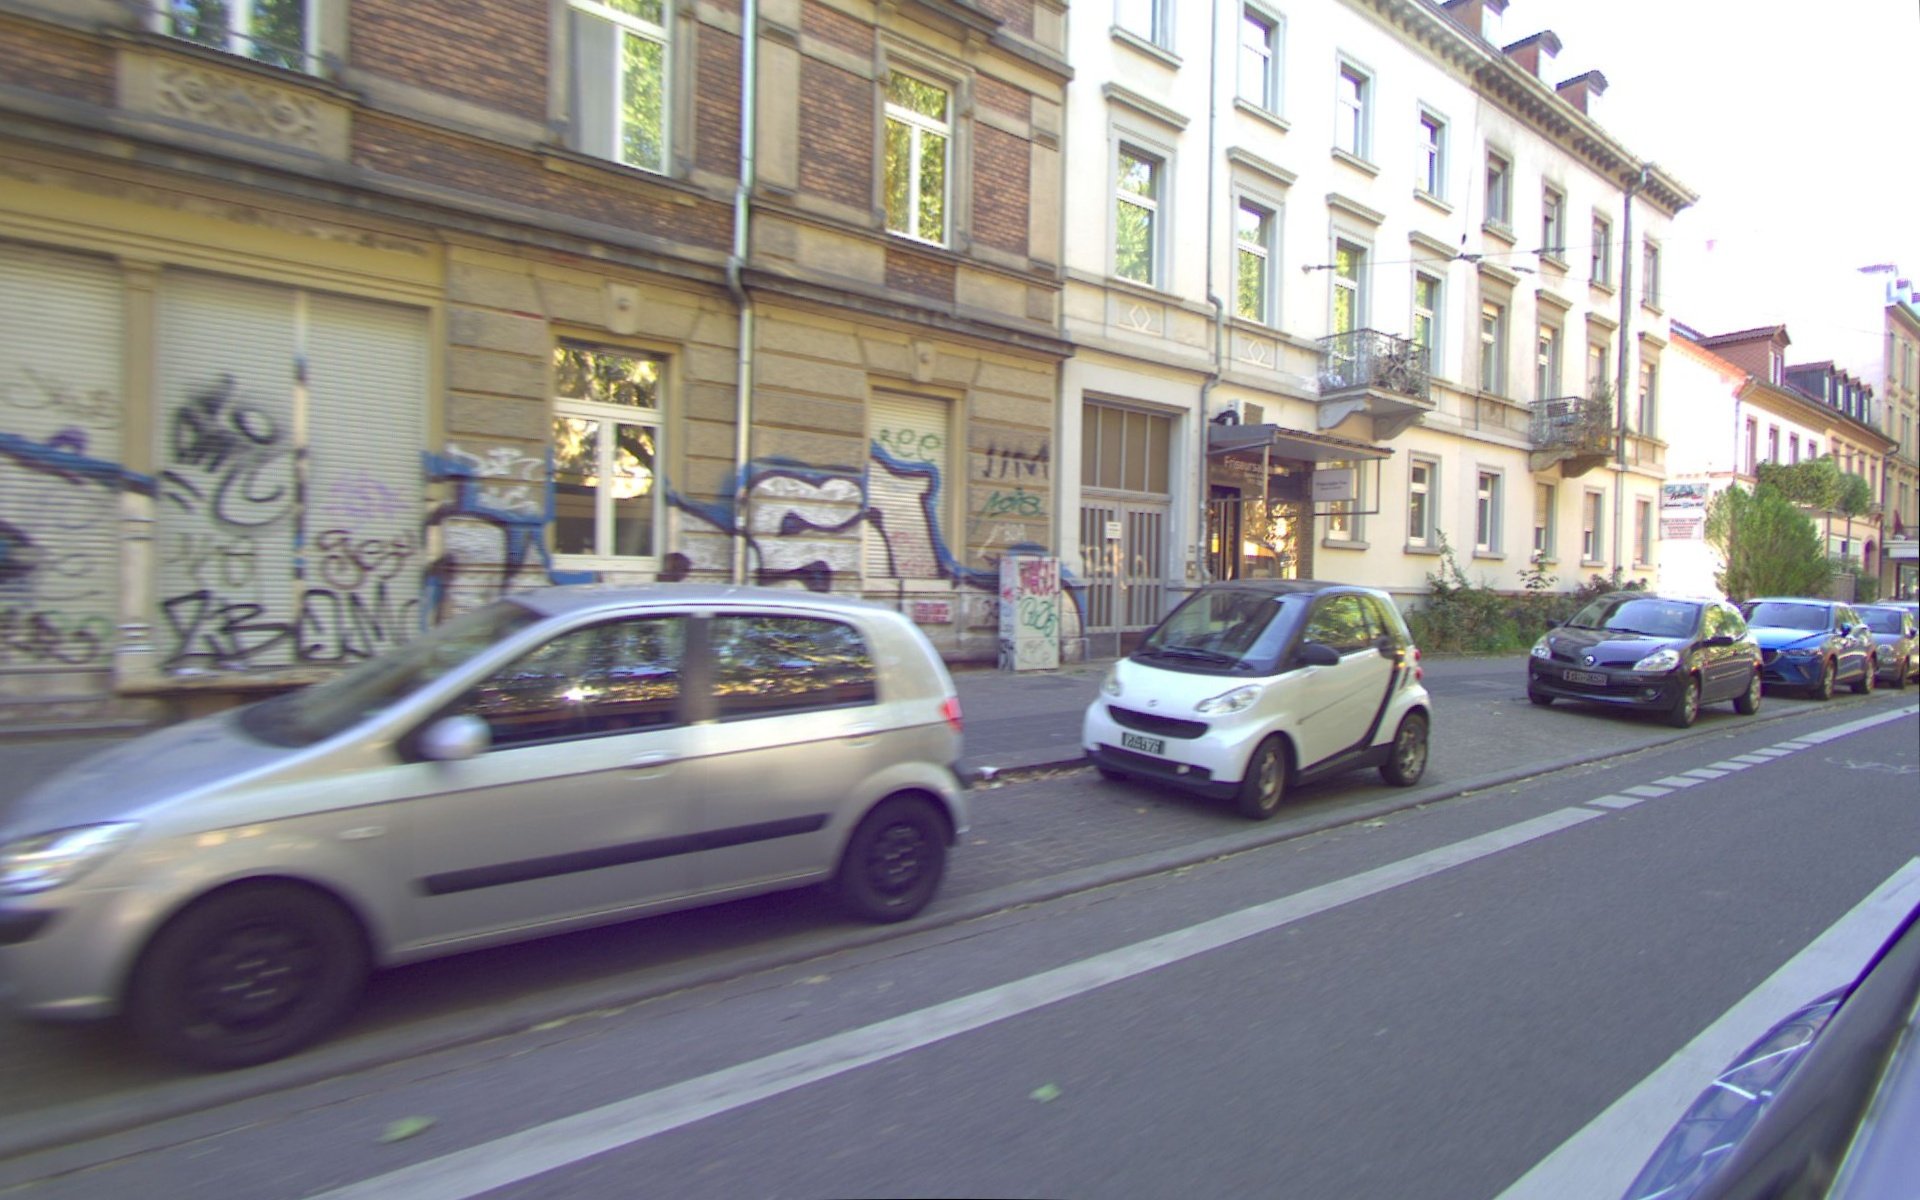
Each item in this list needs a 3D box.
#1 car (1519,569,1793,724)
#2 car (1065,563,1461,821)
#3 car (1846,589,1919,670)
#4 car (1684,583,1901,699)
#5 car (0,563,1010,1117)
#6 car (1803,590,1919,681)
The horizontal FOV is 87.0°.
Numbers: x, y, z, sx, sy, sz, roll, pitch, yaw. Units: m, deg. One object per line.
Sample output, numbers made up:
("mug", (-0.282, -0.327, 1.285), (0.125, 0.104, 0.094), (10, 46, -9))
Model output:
("car", (8.725, 0.470, 12.591), (3.836, 1.523, 1.637), (0, 6, -38))
("car", (2.355, 0.549, 7.735), (2.768, 1.561, 1.515), (0, 3, -37))
("car", (20.685, 0.608, 21.726), (3.617, 1.587, 1.731), (0, 3, -36))
("car", (13.598, 0.584, 16.479), (3.834, 1.523, 1.732), (0, 6, -36))
("car", (-1.733, 0.634, 4.410), (3.671, 1.469, 1.612), (0, 3, -36))
("car", (17.536, 0.610, 19.218), (3.296, 1.524, 1.544), (0, 3, -36))
